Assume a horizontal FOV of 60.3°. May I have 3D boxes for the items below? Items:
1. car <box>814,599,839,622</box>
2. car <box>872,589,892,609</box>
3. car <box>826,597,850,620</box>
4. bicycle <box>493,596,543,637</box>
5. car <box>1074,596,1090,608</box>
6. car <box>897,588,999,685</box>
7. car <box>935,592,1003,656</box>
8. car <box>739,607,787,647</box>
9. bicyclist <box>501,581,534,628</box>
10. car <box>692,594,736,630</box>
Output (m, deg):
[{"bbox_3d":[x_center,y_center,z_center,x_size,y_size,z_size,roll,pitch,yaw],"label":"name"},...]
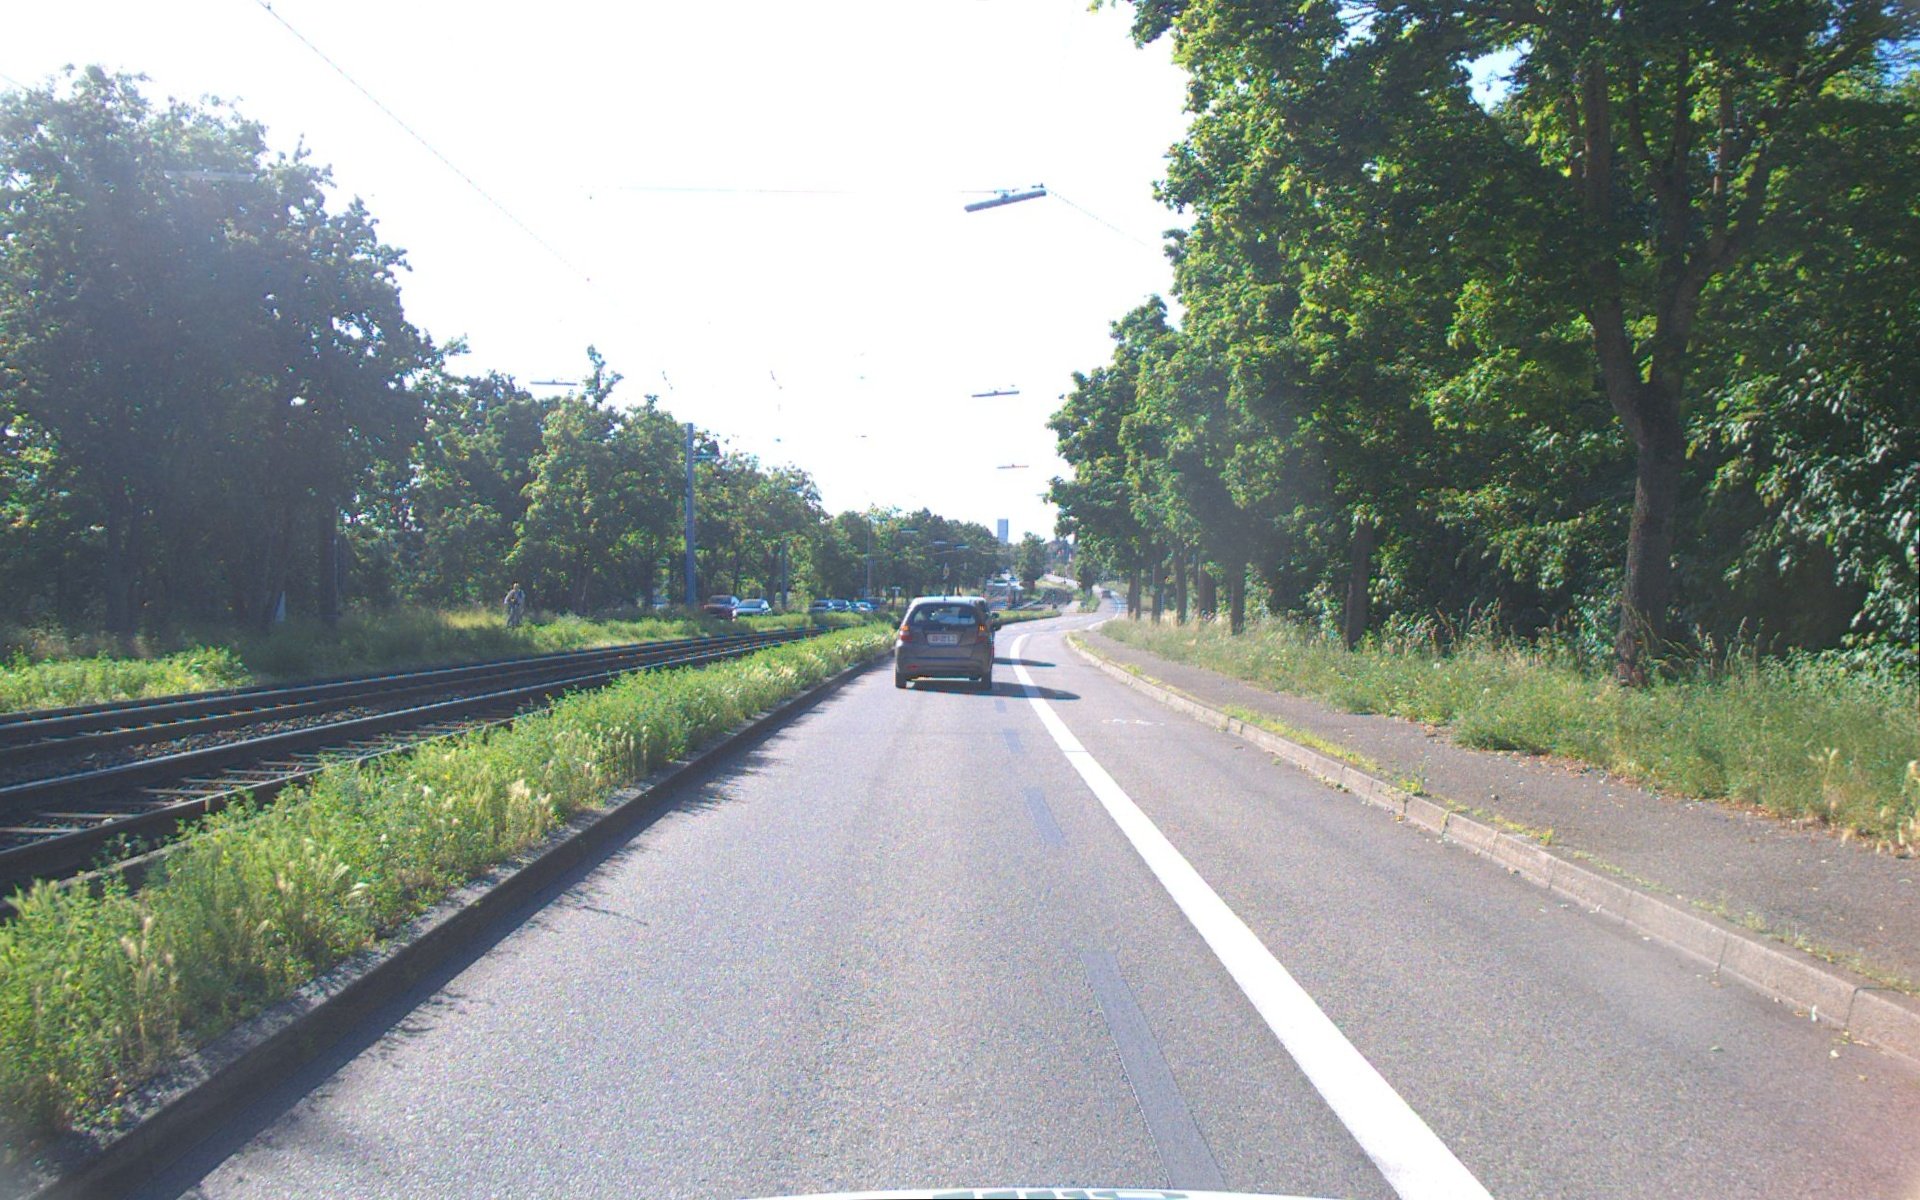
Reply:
[{"bbox_3d":[-10.800,0.810,134.340,1.590,1.578,4.002,2,3,1],"label":"car"},{"bbox_3d":[-7.472,-0.092,158.915,1.666,1.713,4.002,2,3,1],"label":"car"},{"bbox_3d":[-10.390,0.717,140.822,1.666,1.713,4.002,2,3,1],"label":"car"},{"bbox_3d":[-15.241,0.546,57.092,0.772,1.216,3.170,2,3,1],"label":"bicycle"},{"bbox_3d":[16.332,0.256,221.126,1.619,1.336,3.815,2,3,11],"label":"car"},{"bbox_3d":[-0.232,0.608,29.056,1.636,1.534,3.810,2,0,-1],"label":"car"},{"bbox_3d":[0.201,0.593,42.836,1.621,1.534,3.810,2,0,-1],"label":"car"},{"bbox_3d":[-10.341,1.403,87.128,1.952,1.746,4.002,2,3,1],"label":"car"},{"bbox_3d":[-15.251,0.149,57.038,0.773,1.515,1.109,2,3,1],"label":"bicyclist"},{"bbox_3d":[-14.906,0.710,100.435,1.952,1.908,4.002,2,3,1],"label":"car"}]
